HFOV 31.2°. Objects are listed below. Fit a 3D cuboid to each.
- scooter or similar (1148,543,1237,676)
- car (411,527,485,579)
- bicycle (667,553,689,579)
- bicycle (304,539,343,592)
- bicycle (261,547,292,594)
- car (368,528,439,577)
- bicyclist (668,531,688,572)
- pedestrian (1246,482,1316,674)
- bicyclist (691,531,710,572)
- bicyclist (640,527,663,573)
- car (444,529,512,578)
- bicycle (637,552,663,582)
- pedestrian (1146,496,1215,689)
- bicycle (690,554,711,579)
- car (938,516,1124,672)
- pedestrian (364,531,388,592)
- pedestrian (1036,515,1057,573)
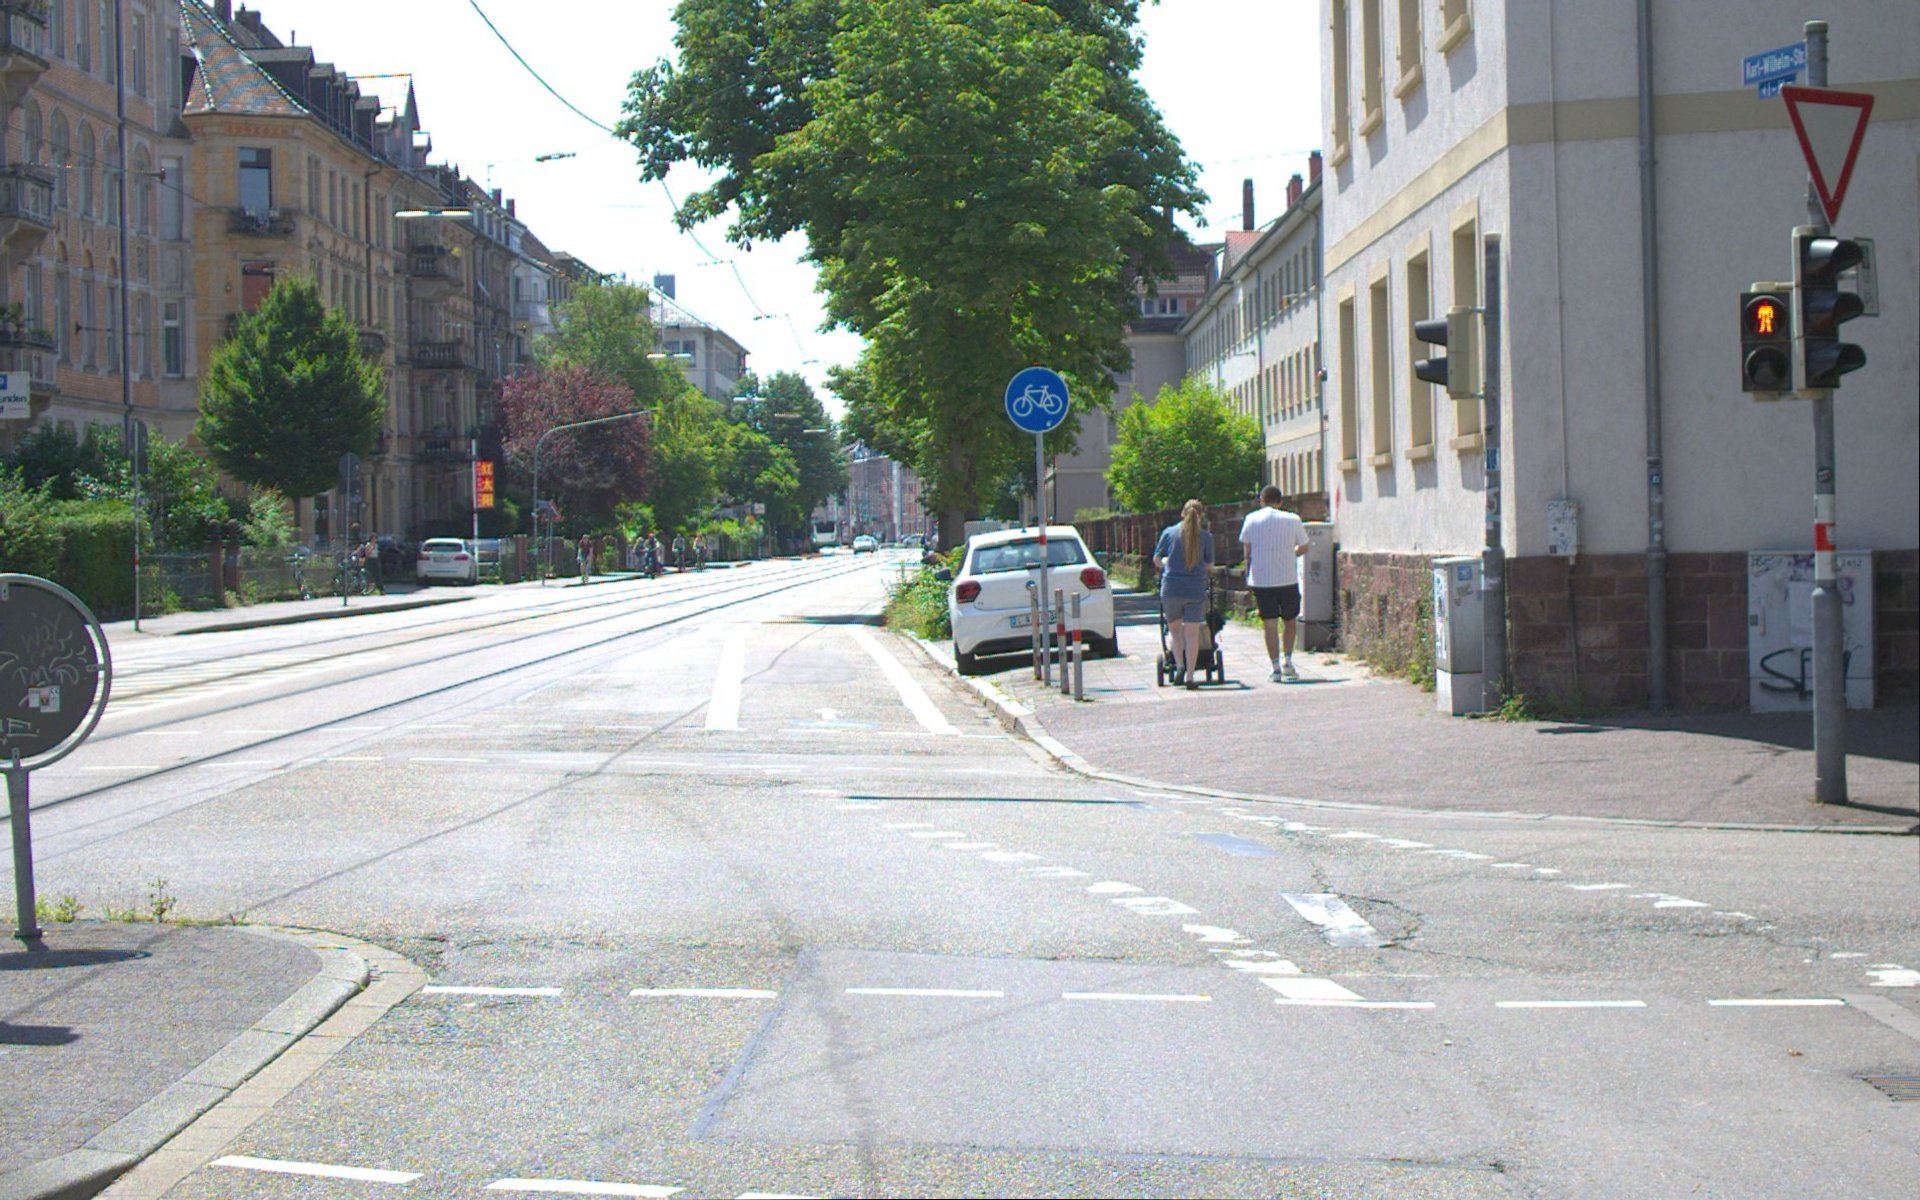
[{"bbox_3d":[2.074,0.081,30.590,0.557,1.151,1.204,1,0,14],"label":"scooter or similar"},{"bbox_3d":[-17.197,-1.578,115.561,1.919,1.709,4.000,1,1,-1],"label":"car"},{"bbox_3d":[-12.617,-1.515,153.821,0.727,1.119,2.085,1,1,1],"label":"bicycle"},{"bbox_3d":[-15.667,-0.849,84.665,0.677,1.274,1.919,-1,1,-3],"label":"bicycle"},{"bbox_3d":[-15.910,-0.699,80.022,0.677,1.061,1.919,-1,1,-11],"label":"bicycle"},{"bbox_3d":[-20.028,-1.701,123.899,1.919,1.709,4.000,1,1,-1],"label":"car"},{"bbox_3d":[-12.619,-2.176,153.820,0.727,1.812,1.079,1,0,1],"label":"bicyclist"},{"bbox_3d":[2.795,-0.193,29.965,0.557,1.640,0.677,1,0,3],"label":"pedestrian"},{"bbox_3d":[-11.596,-2.165,153.712,0.727,1.812,1.079,1,0,1],"label":"bicyclist"},{"bbox_3d":[-11.798,-1.910,131.355,0.727,1.762,1.079,1,0,1],"label":"bicyclist"},{"bbox_3d":[-17.341,-1.663,123.826,1.919,1.709,4.000,1,1,-1],"label":"car"},{"bbox_3d":[-11.825,-1.256,131.220,0.727,1.119,2.085,1,1,1],"label":"bicycle"},{"bbox_3d":[1.899,-0.071,29.682,0.557,1.640,0.677,1,0,3],"label":"pedestrian"},{"bbox_3d":[-11.606,-1.490,153.661,0.727,1.119,2.085,1,1,1],"label":"bicycle"},{"bbox_3d":[0.717,-0.083,37.315,1.815,1.511,4.000,-3,1,-1],"label":"car"},{"bbox_3d":[-15.881,-1.049,93.512,0.521,1.653,0.529,-1,1,-1],"label":"pedestrian"},{"bbox_3d":[2.374,-1.532,94.115,0.521,1.557,0.573,-1,1,-1],"label":"pedestrian"}]
